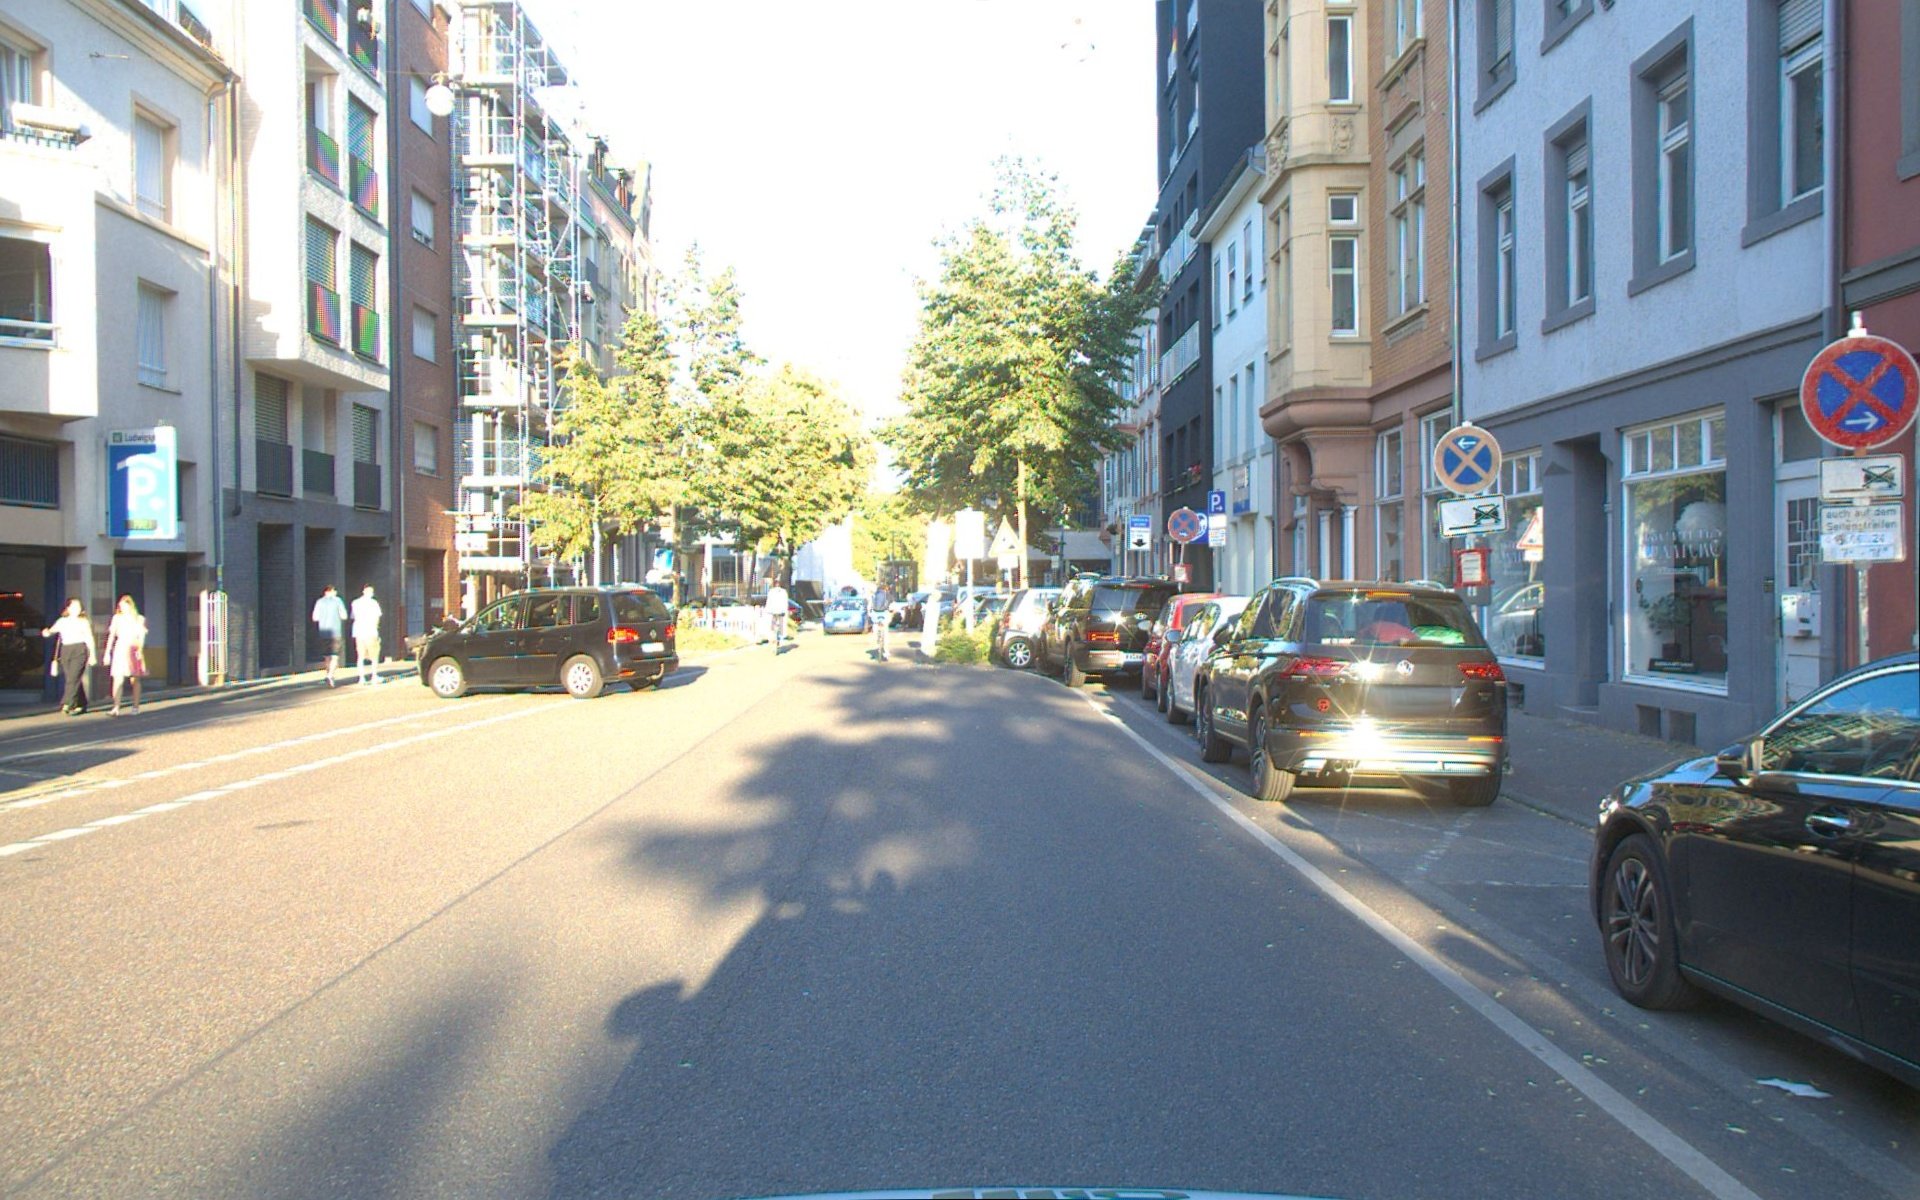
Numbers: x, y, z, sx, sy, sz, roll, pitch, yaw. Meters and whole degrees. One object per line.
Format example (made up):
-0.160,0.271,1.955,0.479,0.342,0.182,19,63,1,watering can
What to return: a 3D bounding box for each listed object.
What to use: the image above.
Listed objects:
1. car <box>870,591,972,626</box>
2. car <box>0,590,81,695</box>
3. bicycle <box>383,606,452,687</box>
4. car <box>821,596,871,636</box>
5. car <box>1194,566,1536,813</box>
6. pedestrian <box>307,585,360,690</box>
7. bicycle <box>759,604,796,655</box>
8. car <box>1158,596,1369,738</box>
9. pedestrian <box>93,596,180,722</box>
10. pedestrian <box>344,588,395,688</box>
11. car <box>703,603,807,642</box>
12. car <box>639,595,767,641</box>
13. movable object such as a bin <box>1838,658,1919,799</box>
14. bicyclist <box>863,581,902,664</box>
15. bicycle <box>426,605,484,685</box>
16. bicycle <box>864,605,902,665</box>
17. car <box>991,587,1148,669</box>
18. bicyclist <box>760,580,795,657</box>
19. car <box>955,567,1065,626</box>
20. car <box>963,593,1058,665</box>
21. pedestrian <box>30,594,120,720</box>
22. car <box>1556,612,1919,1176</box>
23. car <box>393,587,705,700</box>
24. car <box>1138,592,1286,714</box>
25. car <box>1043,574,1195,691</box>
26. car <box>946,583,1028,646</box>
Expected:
-1.736,0.395,74.938,4.414,1.506,1.865,1,0,-39,car
-16.948,0.638,26.719,4.401,1.629,2.000,1,0,2,car
-10.055,0.833,30.754,0.707,1.420,3.146,1,0,-9,bicycle
-4.440,0.613,65.080,1.801,1.466,4.330,1,0,-2,car
3.119,0.630,13.622,1.775,1.697,4.205,1,0,0,car
-10.918,0.644,28.841,0.703,1.798,0.693,1,-1,-9,pedestrian
-4.533,0.727,41.245,0.765,1.225,2.019,-1,0,-3,bicycle
3.261,0.676,18.430,1.632,1.402,3.802,1,0,0,car
-11.157,0.786,22.428,0.701,1.670,0.855,1,0,4,pedestrian
-10.601,0.676,29.693,0.703,1.771,0.737,1,0,-9,pedestrian
-8.385,0.917,67.885,4.018,1.491,1.889,1,0,1,car
-8.757,0.593,56.528,4.018,1.491,1.889,1,0,1,car
6.618,0.899,11.701,0.542,0.954,0.485,0,0,-2,movable object such as a bin
-1.656,0.477,35.325,0.765,1.726,1.006,-1,0,-3,bicyclist
-9.400,0.801,30.872,0.574,1.420,3.154,1,0,-9,bicycle
-1.642,0.725,35.180,0.765,1.225,2.019,-1,0,-3,bicycle
2.139,0.547,32.707,2.910,1.563,1.432,1,0,-5,car
-4.546,0.457,41.257,0.765,1.861,1.006,-1,0,-3,bicyclist
1.856,-0.134,60.071,3.903,2.049,2.001,-1,0,3,car
1.214,0.697,41.501,1.954,1.697,4.506,1,0,-4,car
-12.041,0.764,22.524,0.701,1.670,0.855,1,0,4,pedestrian
3.458,0.811,5.033,1.726,1.509,4.306,1,0,0,car
-6.413,0.688,25.804,4.403,1.630,1.999,-1,-1,23,car
3.340,0.670,22.379,1.554,1.509,3.267,1,0,1,car
2.503,0.496,26.991,1.789,1.725,4.365,1,0,-4,car
0.839,0.461,54.852,2.221,1.796,4.506,5,-1,-4,car
